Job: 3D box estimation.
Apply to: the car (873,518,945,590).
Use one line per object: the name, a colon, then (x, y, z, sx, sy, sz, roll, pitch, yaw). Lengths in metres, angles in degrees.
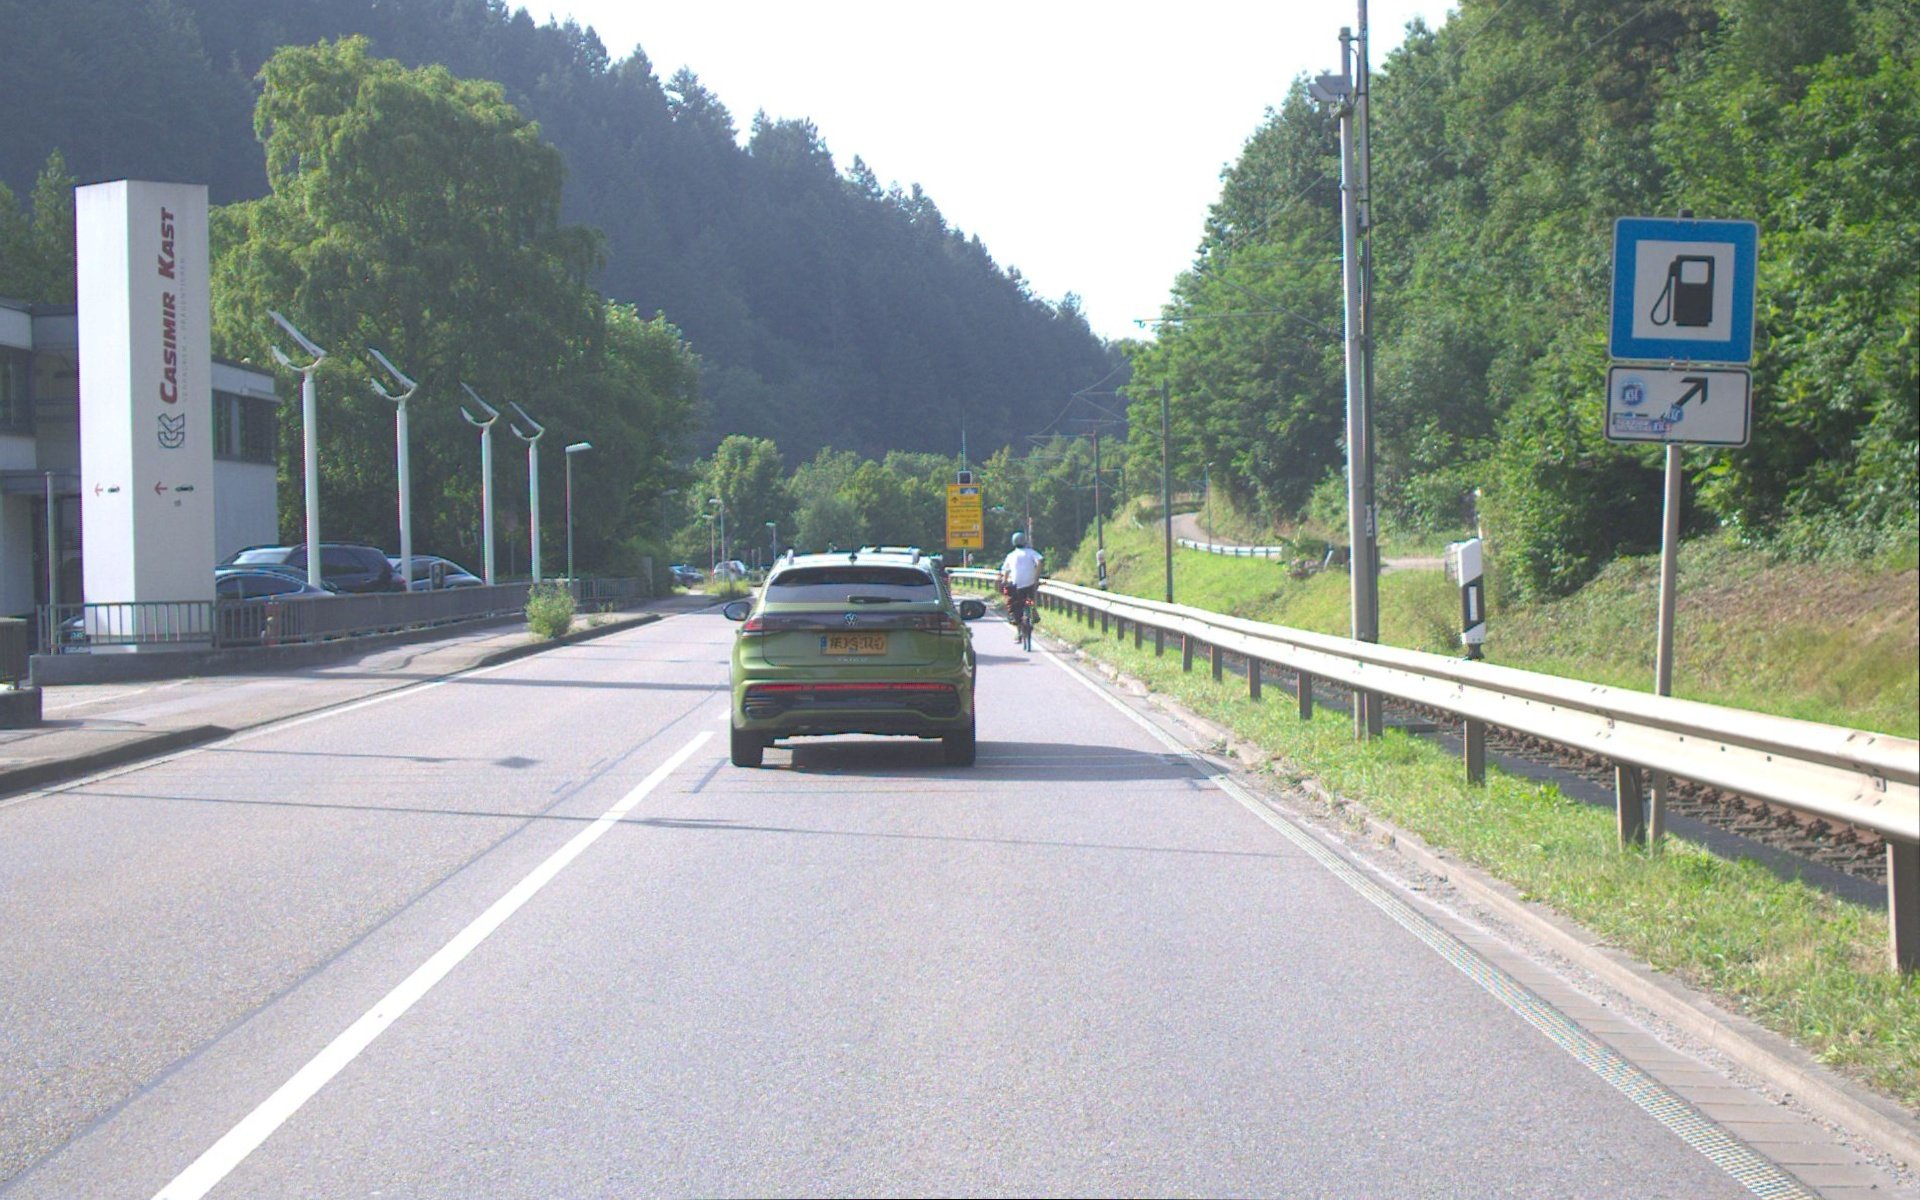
car: (-1.450, -1.320, 98.493, 1.993, 2.007, 4.000, -1, 1, -1)

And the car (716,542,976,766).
car: (-0.826, 0.331, 25.142, 1.739, 1.503, 4.000, 0, 1, -2)

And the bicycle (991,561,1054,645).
bicycle: (0.948, 0.031, 52.405, 0.811, 1.246, 2.123, -1, 1, -3)

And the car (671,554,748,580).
car: (-14.243, -1.865, 195.828, 4.259, 1.428, 1.557, -1, 1, 0)

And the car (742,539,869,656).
car: (-2.180, -0.064, 49.169, 1.739, 1.596, 4.000, 0, 1, -2)

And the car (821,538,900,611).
car: (-2.230, -0.595, 76.975, 1.739, 1.596, 4.000, 0, 1, -2)

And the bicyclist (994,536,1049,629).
bicyclist: (0.941, -0.268, 52.402, 0.781, 1.407, 0.675, -1, 1, -3)

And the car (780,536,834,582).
car: (-5.060, -1.378, 114.140, 1.677, 1.480, 4.246, 1, 1, -1)
